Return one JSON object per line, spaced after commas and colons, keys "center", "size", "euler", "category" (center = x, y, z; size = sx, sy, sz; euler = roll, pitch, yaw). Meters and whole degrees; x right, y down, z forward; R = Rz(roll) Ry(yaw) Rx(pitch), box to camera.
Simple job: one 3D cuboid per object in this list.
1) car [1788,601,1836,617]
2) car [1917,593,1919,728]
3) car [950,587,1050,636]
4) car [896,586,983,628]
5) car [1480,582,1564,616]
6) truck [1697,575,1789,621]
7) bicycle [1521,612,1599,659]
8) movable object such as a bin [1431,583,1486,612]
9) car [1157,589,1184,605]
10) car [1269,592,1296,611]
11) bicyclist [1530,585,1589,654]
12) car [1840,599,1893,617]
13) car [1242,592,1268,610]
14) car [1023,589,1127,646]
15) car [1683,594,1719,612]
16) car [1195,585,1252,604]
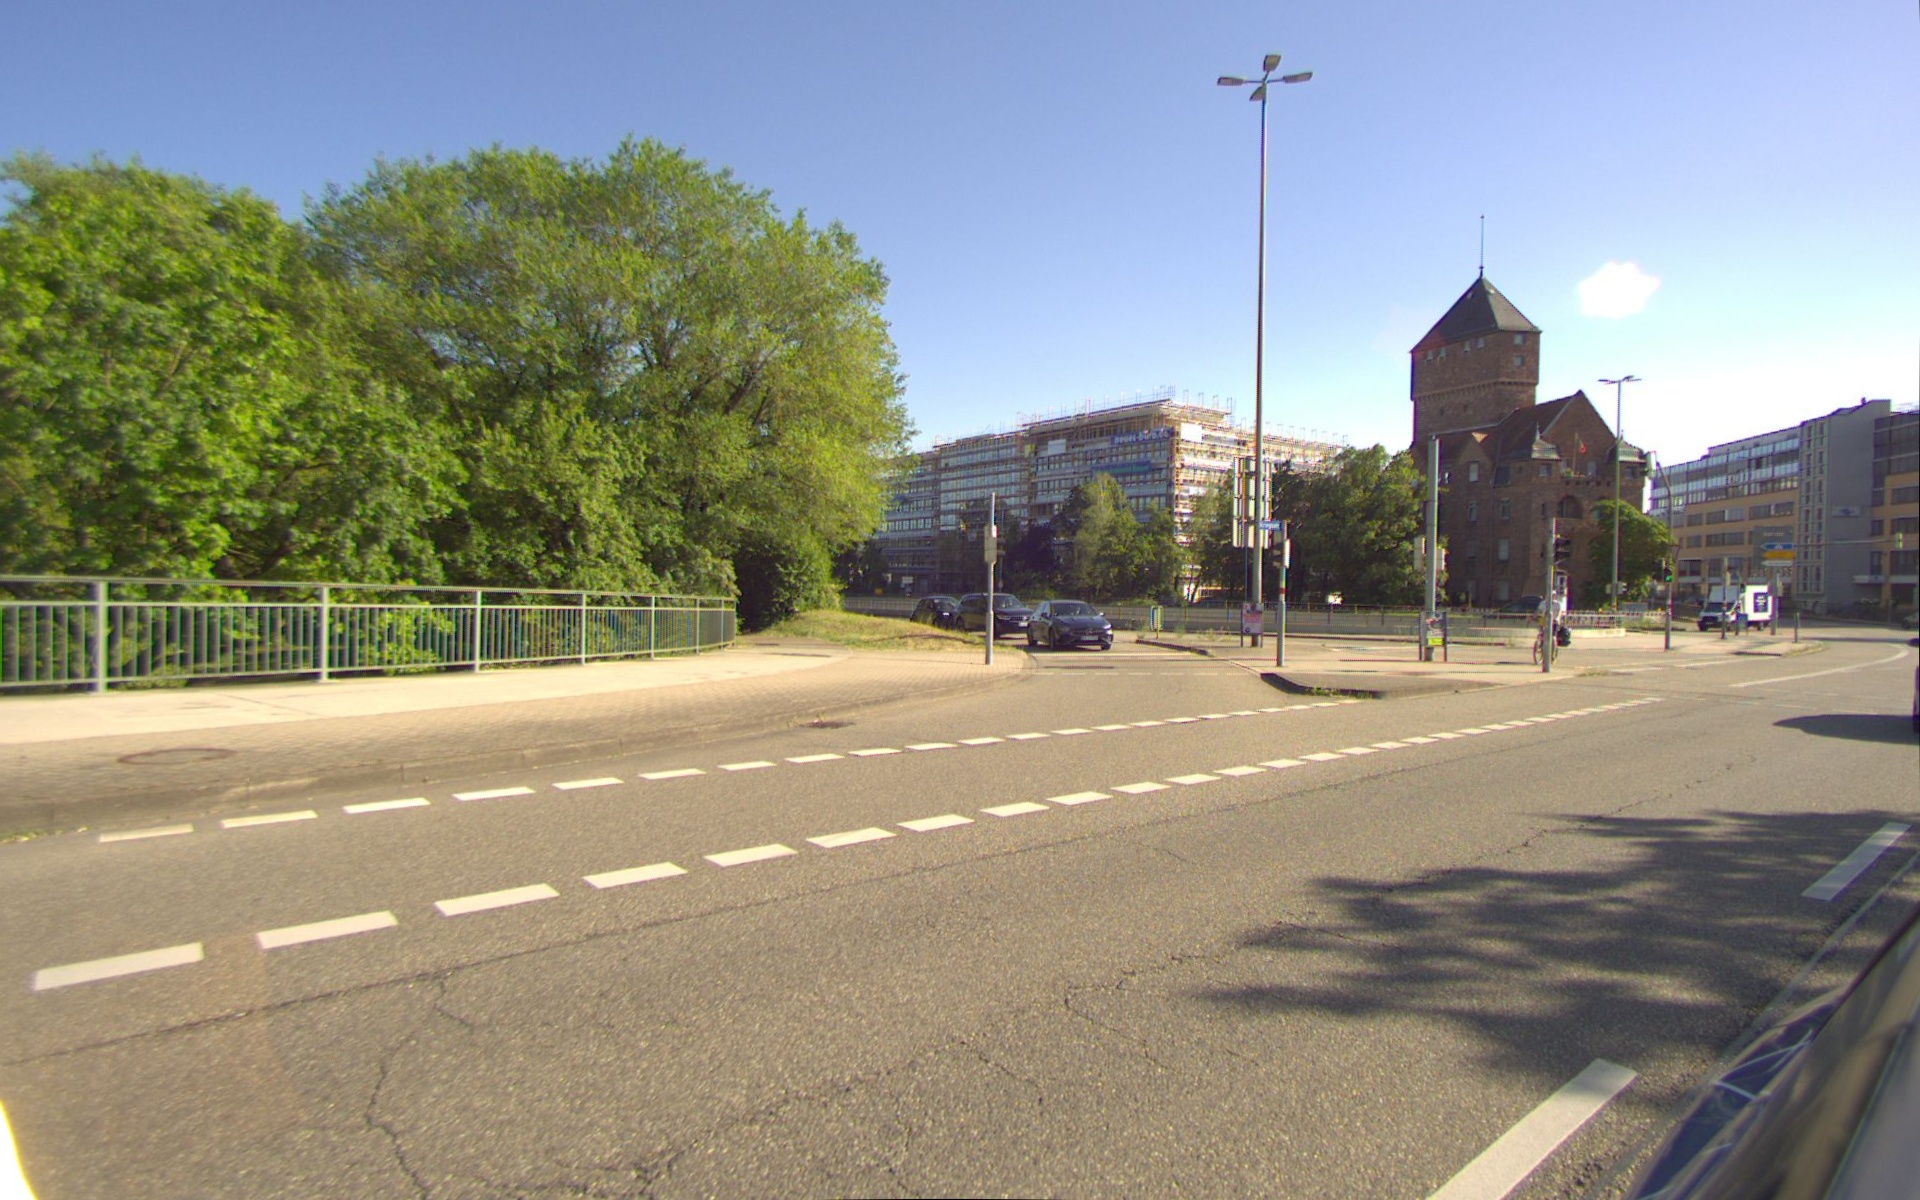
{"center": [86.102, 0.891, 102.336], "size": [1.850, 1.542, 4.148], "euler": [1, 1, 10], "category": "car"}
{"center": [13.516, 0.703, 12.737], "size": [4.126, 1.642, 1.876], "euler": [-1, 2, -43], "category": "car"}
{"center": [1.372, 0.368, 37.157], "size": [1.822, 1.636, 4.687], "euler": [1, 1, -23], "category": "car"}
{"center": [-0.936, 0.255, 43.171], "size": [1.823, 1.636, 4.685], "euler": [1, 1, -27], "category": "car"}
{"center": [39.212, -0.082, 70.681], "size": [4.715, 2.290, 1.943], "euler": [1, 1, 15], "category": "car"}
{"center": [55.161, -0.161, 71.273], "size": [6.817, 3.167, 2.508], "euler": [0, 1, -28], "category": "truck"}
{"center": [14.857, 0.874, 25.071], "size": [1.788, 1.116, 0.695], "euler": [0, 0, -21], "category": "bicycle"}
{"center": [43.463, -0.262, 88.312], "size": [1.958, 2.439, 4.008], "euler": [0, 1, -23], "category": "movable object such as a bin"}
{"center": [21.278, -0.316, 102.151], "size": [1.977, 1.472, 3.754], "euler": [1, 1, 22], "category": "car"}
{"center": [28.533, 0.109, 89.476], "size": [1.977, 1.581, 3.754], "euler": [1, 1, 22], "category": "car"}
{"center": [14.809, 0.464, 25.014], "size": [1.089, 1.680, 0.728], "euler": [0, 0, -21], "category": "bicyclist"}
{"center": [84.999, 0.723, 94.928], "size": [1.611, 1.542, 4.152], "euler": [1, 1, 8], "category": "car"}
{"center": [26.810, 0.063, 91.935], "size": [1.977, 1.581, 3.754], "euler": [1, 1, 22], "category": "car"}
{"center": [3.364, 0.470, 30.442], "size": [1.822, 1.571, 4.253], "euler": [1, 1, -12], "category": "car"}
{"center": [75.544, 0.301, 103.236], "size": [1.737, 1.781, 4.751], "euler": [1, 1, 21], "category": "car"}
{"center": [22.798, -0.481, 87.712], "size": [1.845, 1.489, 4.636], "euler": [0, 2, -35], "category": "car"}
